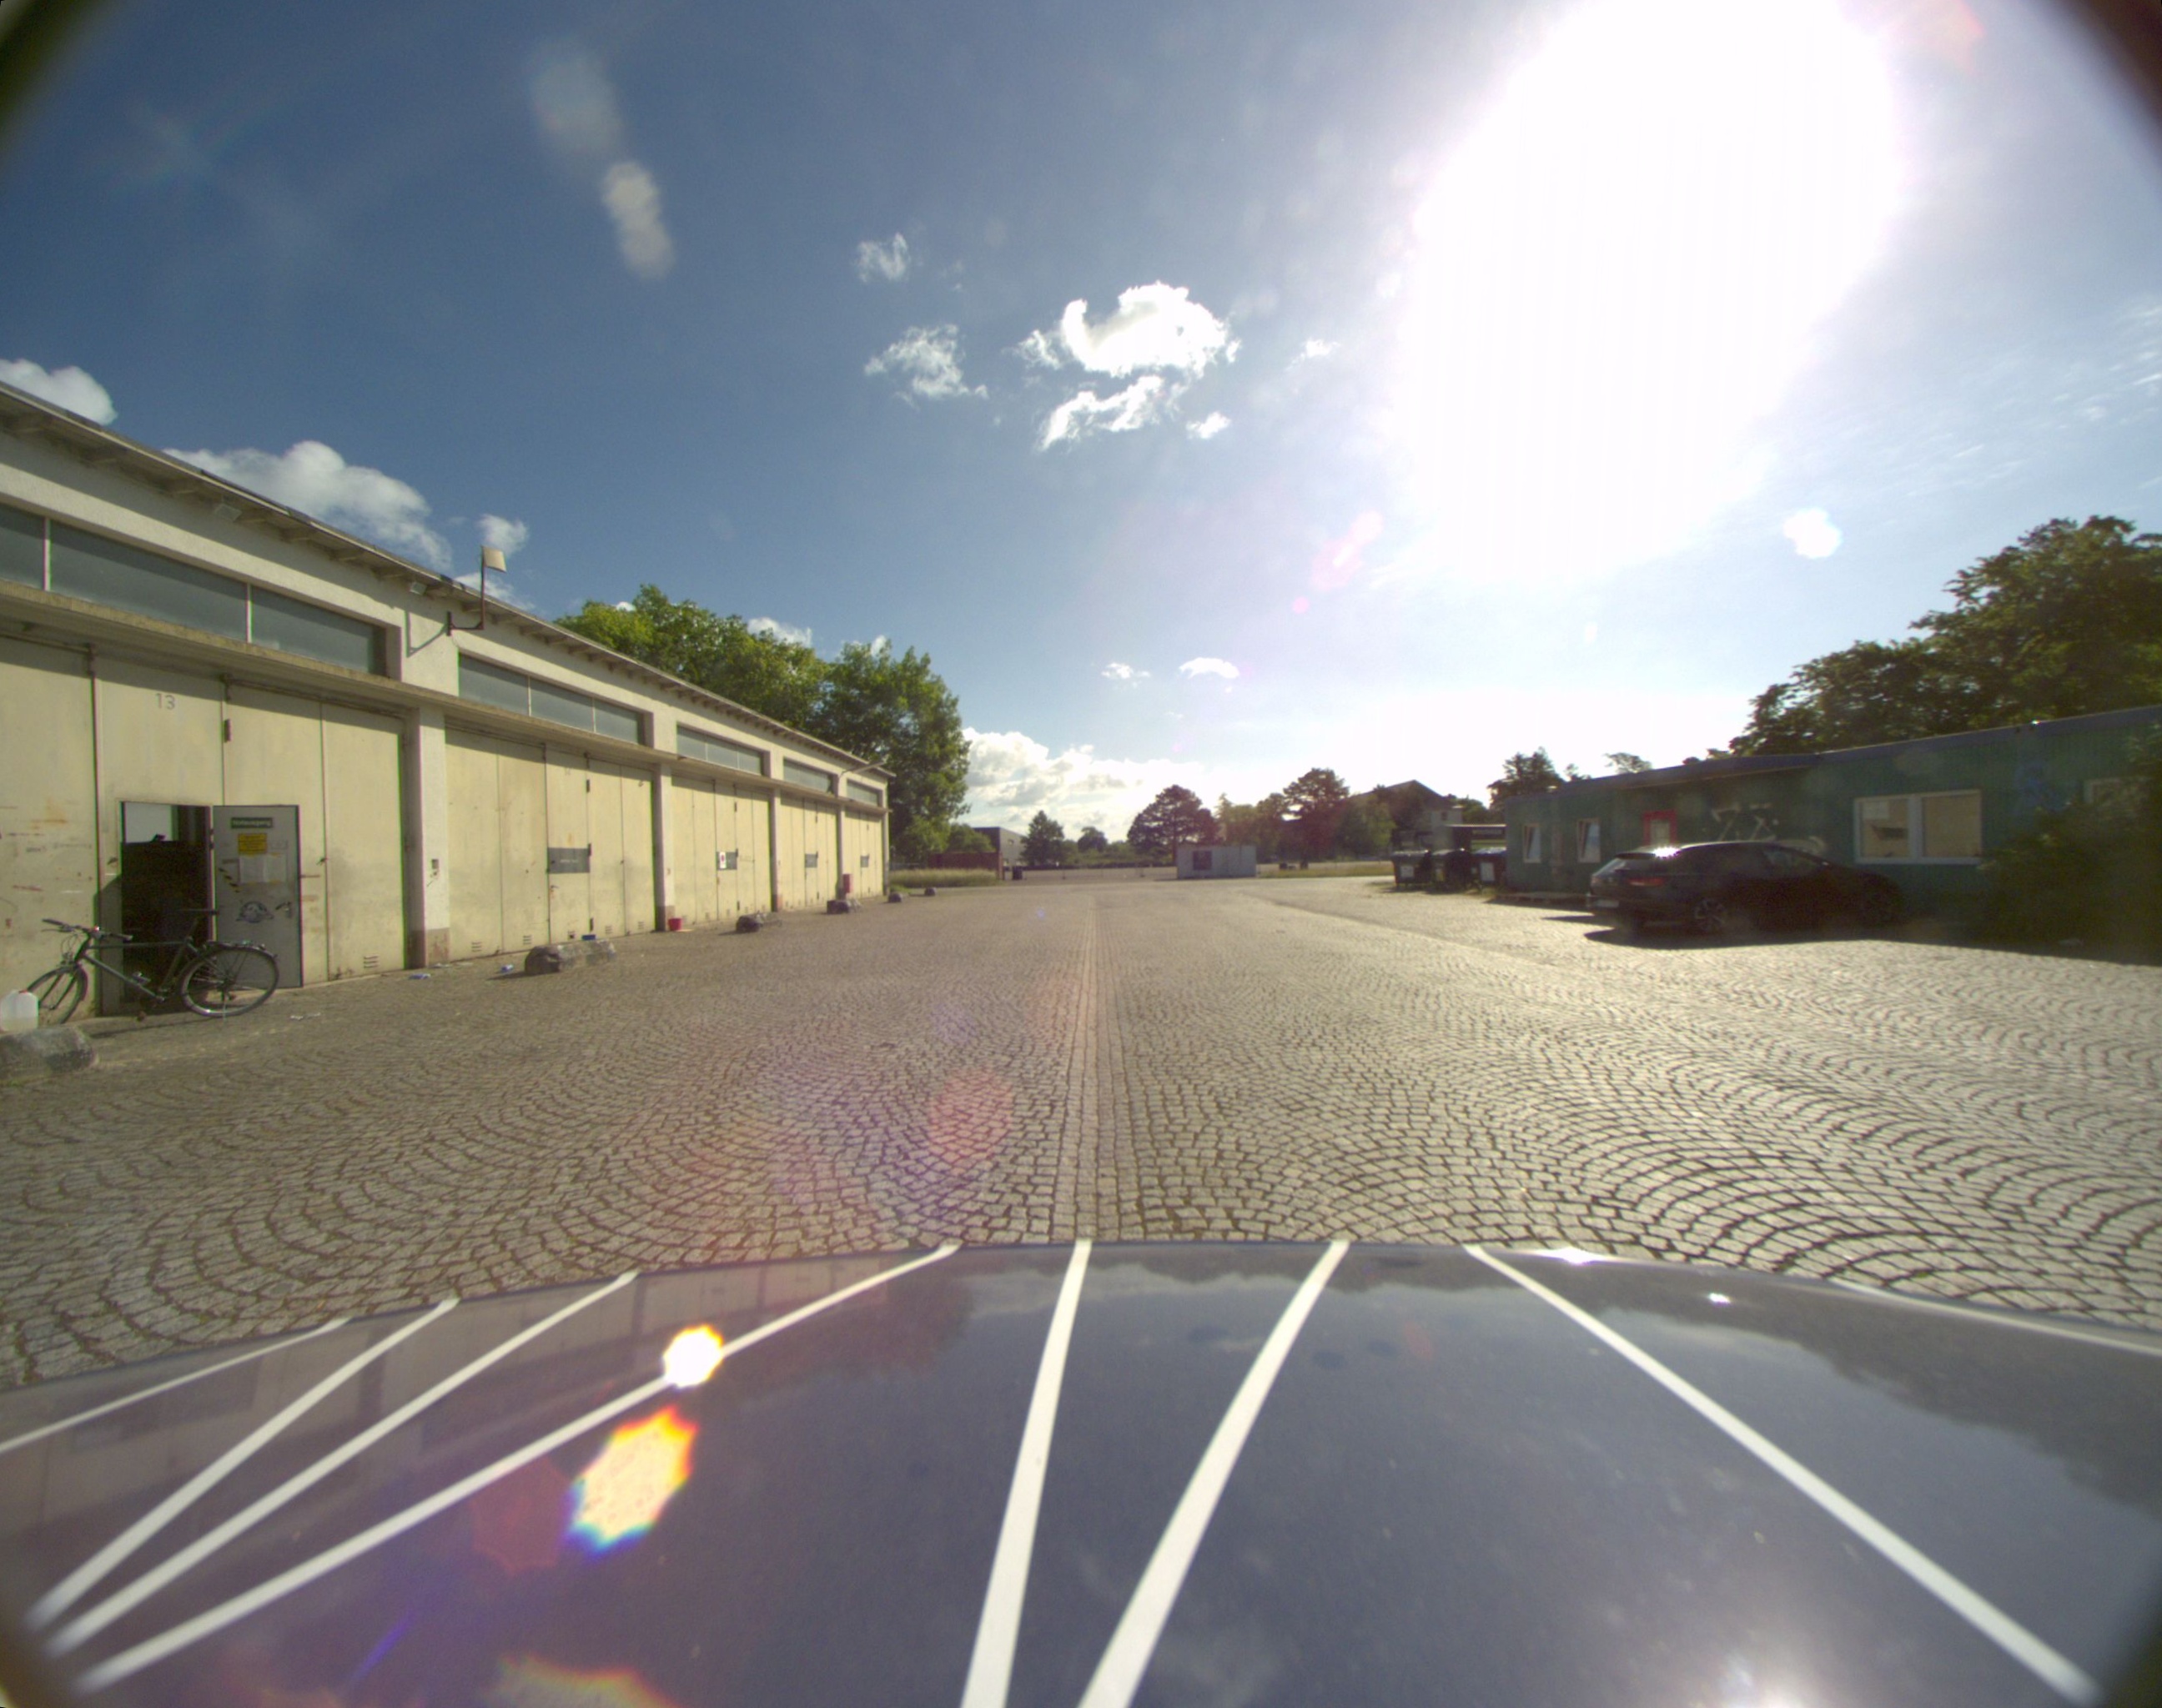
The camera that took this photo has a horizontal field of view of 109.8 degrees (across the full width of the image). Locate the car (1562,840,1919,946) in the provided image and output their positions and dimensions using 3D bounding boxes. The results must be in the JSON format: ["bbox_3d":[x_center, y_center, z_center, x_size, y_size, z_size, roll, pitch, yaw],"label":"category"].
[{"bbox_3d":[10.746,0.592,12.637,4.262,1.441,1.931,-3,1,-1],"label":"car"}]

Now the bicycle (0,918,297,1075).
[{"bbox_3d":[-8.575,1.209,6.945,0.665,1.062,1.826,-2,1,13],"label":"bicycle"}]

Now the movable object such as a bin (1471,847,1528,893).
[{"bbox_3d":[13.852,0.525,25.188,0.885,1.449,1.439,-3,1,-10],"label":"movable object such as a bin"}]

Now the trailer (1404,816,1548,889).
[{"bbox_3d":[15.577,-0.066,30.099,4.649,2.553,1.951,-3,1,-3],"label":"trailer"}]

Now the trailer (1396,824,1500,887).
[{"bbox_3d":[15.649,0.054,32.551,3.393,2.455,2.044,-3,1,2],"label":"trailer"}]

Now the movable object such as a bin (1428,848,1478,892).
[{"bbox_3d":[13.127,0.546,26.878,1.020,1.449,1.440,-3,1,1],"label":"movable object such as a bin"}]

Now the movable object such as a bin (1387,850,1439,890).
[{"bbox_3d":[12.668,0.618,28.998,1.434,1.449,1.158,-2,1,44],"label":"movable object such as a bin"}]
